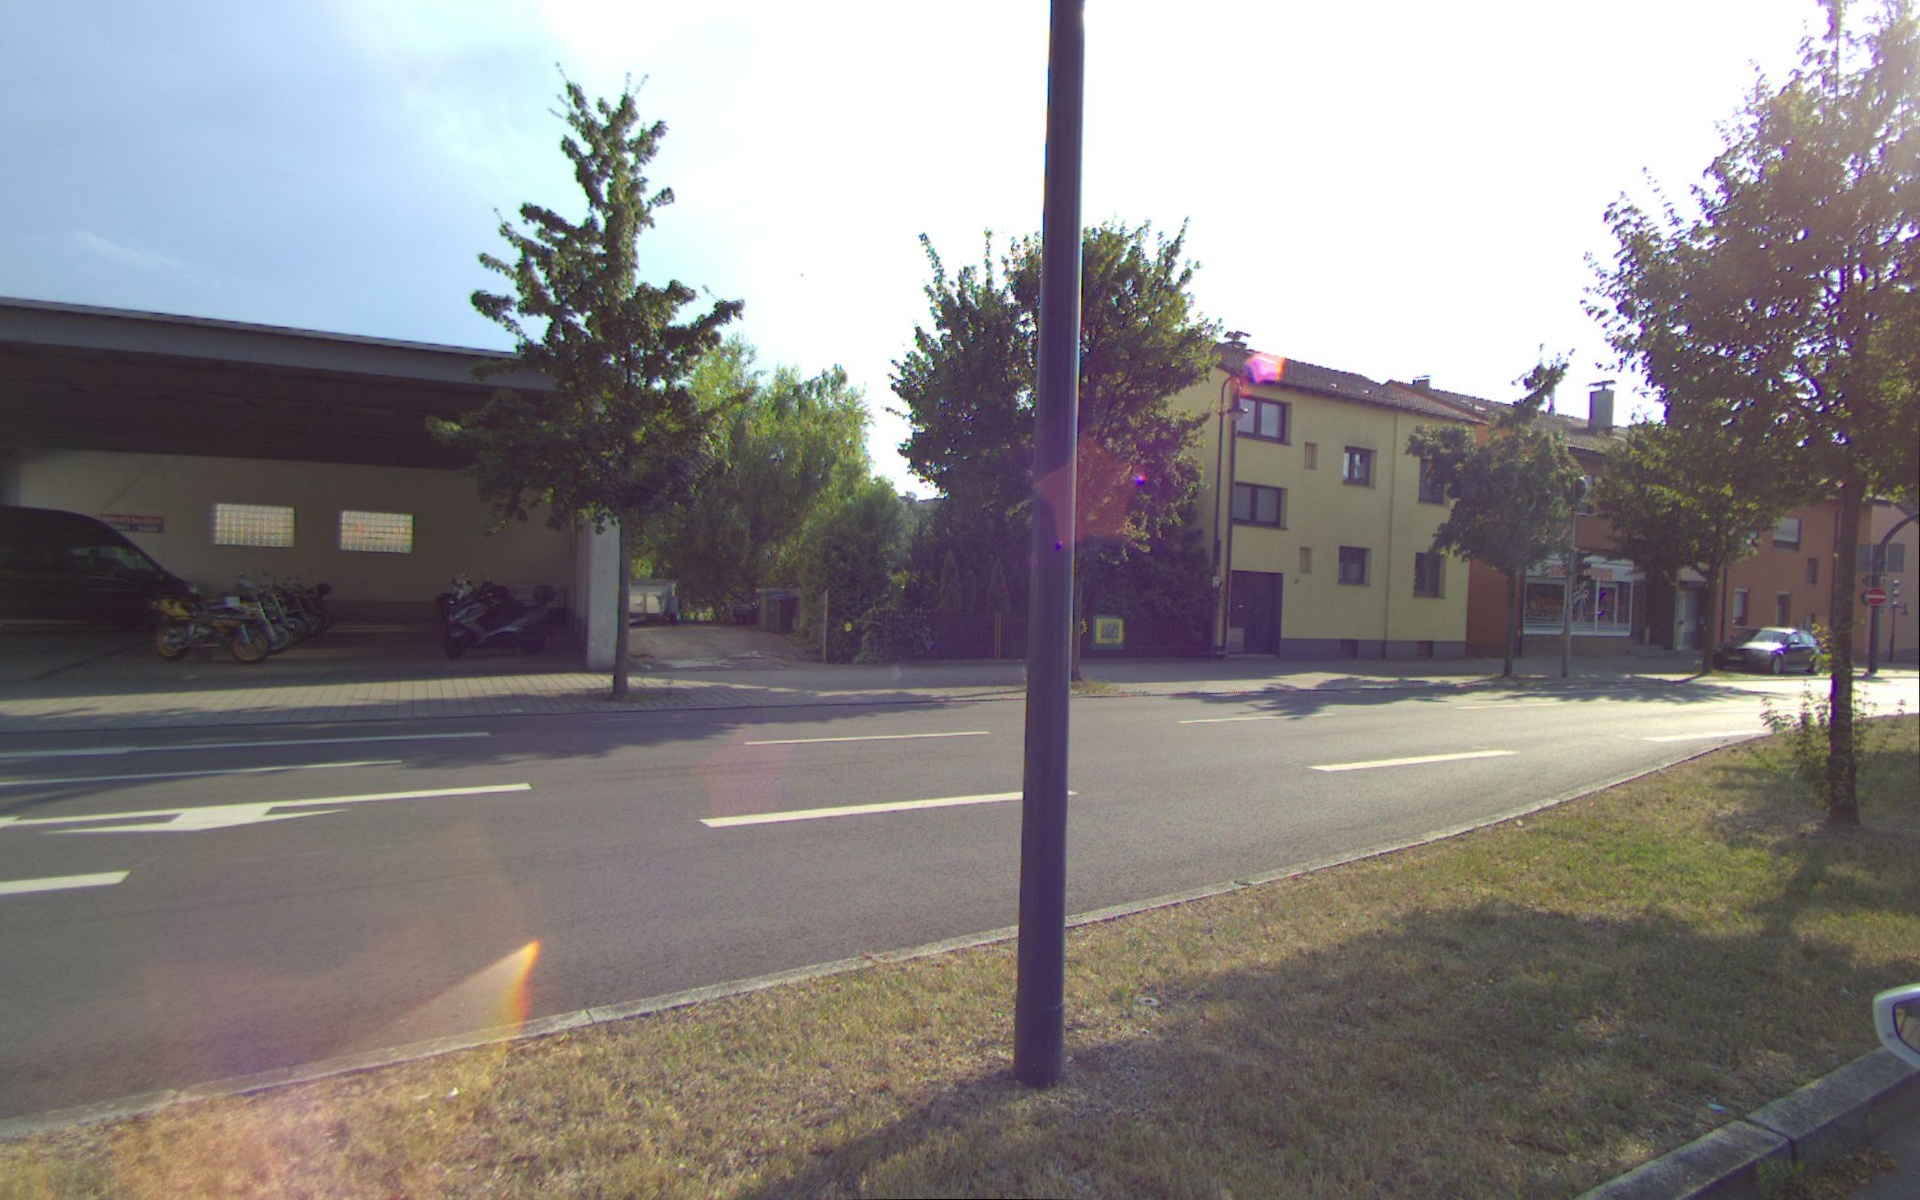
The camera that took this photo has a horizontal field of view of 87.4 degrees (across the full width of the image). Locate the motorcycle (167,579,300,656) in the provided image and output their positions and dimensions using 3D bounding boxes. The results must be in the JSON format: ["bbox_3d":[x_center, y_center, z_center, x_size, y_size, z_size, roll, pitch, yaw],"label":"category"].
[{"bbox_3d":[-13.634,0.316,18.859,2.219,1.354,0.631,1,0,10],"label":"motorcycle"}]

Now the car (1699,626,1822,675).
[{"bbox_3d":[25.967,1.595,32.551,3.953,1.319,1.728,1,4,-30],"label":"car"}]

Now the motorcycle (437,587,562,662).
[{"bbox_3d":[-8.621,0.427,18.894,0.621,1.314,2.113,1,2,36],"label":"motorcycle"}]

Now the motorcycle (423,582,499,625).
[{"bbox_3d":[-15.961,0.099,32.173,0.621,1.314,2.113,1,2,36],"label":"motorcycle"}]

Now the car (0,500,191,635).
[{"bbox_3d":[-20.454,-0.684,22.088,1.962,2.789,5.280,1,0,26],"label":"car"}]

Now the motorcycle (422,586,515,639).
[{"bbox_3d":[-12.651,0.290,25.917,0.621,1.314,2.113,1,2,36],"label":"motorcycle"}]

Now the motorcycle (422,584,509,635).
[{"bbox_3d":[-13.515,0.238,27.515,0.621,1.314,2.113,1,2,36],"label":"motorcycle"}]

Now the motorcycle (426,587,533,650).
[{"bbox_3d":[-10.744,0.381,22.533,0.621,1.314,2.113,1,2,36],"label":"motorcycle"}]

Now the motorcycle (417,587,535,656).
[{"bbox_3d":[-9.814,0.399,20.456,0.621,1.314,2.113,1,2,36],"label":"motorcycle"}]

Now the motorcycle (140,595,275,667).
[{"bbox_3d":[-12.499,0.501,16.694,1.993,1.101,0.631,1,0,12],"label":"motorcycle"}]

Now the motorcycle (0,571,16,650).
[{"bbox_3d":[-17.289,0.166,16.721,0.619,1.380,2.225,1,0,24],"label":"motorcycle"}]

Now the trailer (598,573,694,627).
[{"bbox_3d":[-8.219,-0.008,26.614,1.698,1.280,3.995,1,0,-7],"label":"trailer"}]

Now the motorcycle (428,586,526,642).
[{"bbox_3d":[-11.769,0.310,24.534,0.621,1.314,2.113,1,2,36],"label":"motorcycle"}]

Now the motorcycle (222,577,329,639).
[{"bbox_3d":[-15.887,0.179,23.310,2.219,1.354,0.631,1,0,10],"label":"motorcycle"}]

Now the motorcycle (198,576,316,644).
[{"bbox_3d":[-14.755,0.202,21.101,2.219,1.354,0.631,1,0,10],"label":"motorcycle"}]

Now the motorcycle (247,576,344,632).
[{"bbox_3d":[-16.911,0.100,25.570,2.219,1.354,0.631,1,0,10],"label":"motorcycle"}]
